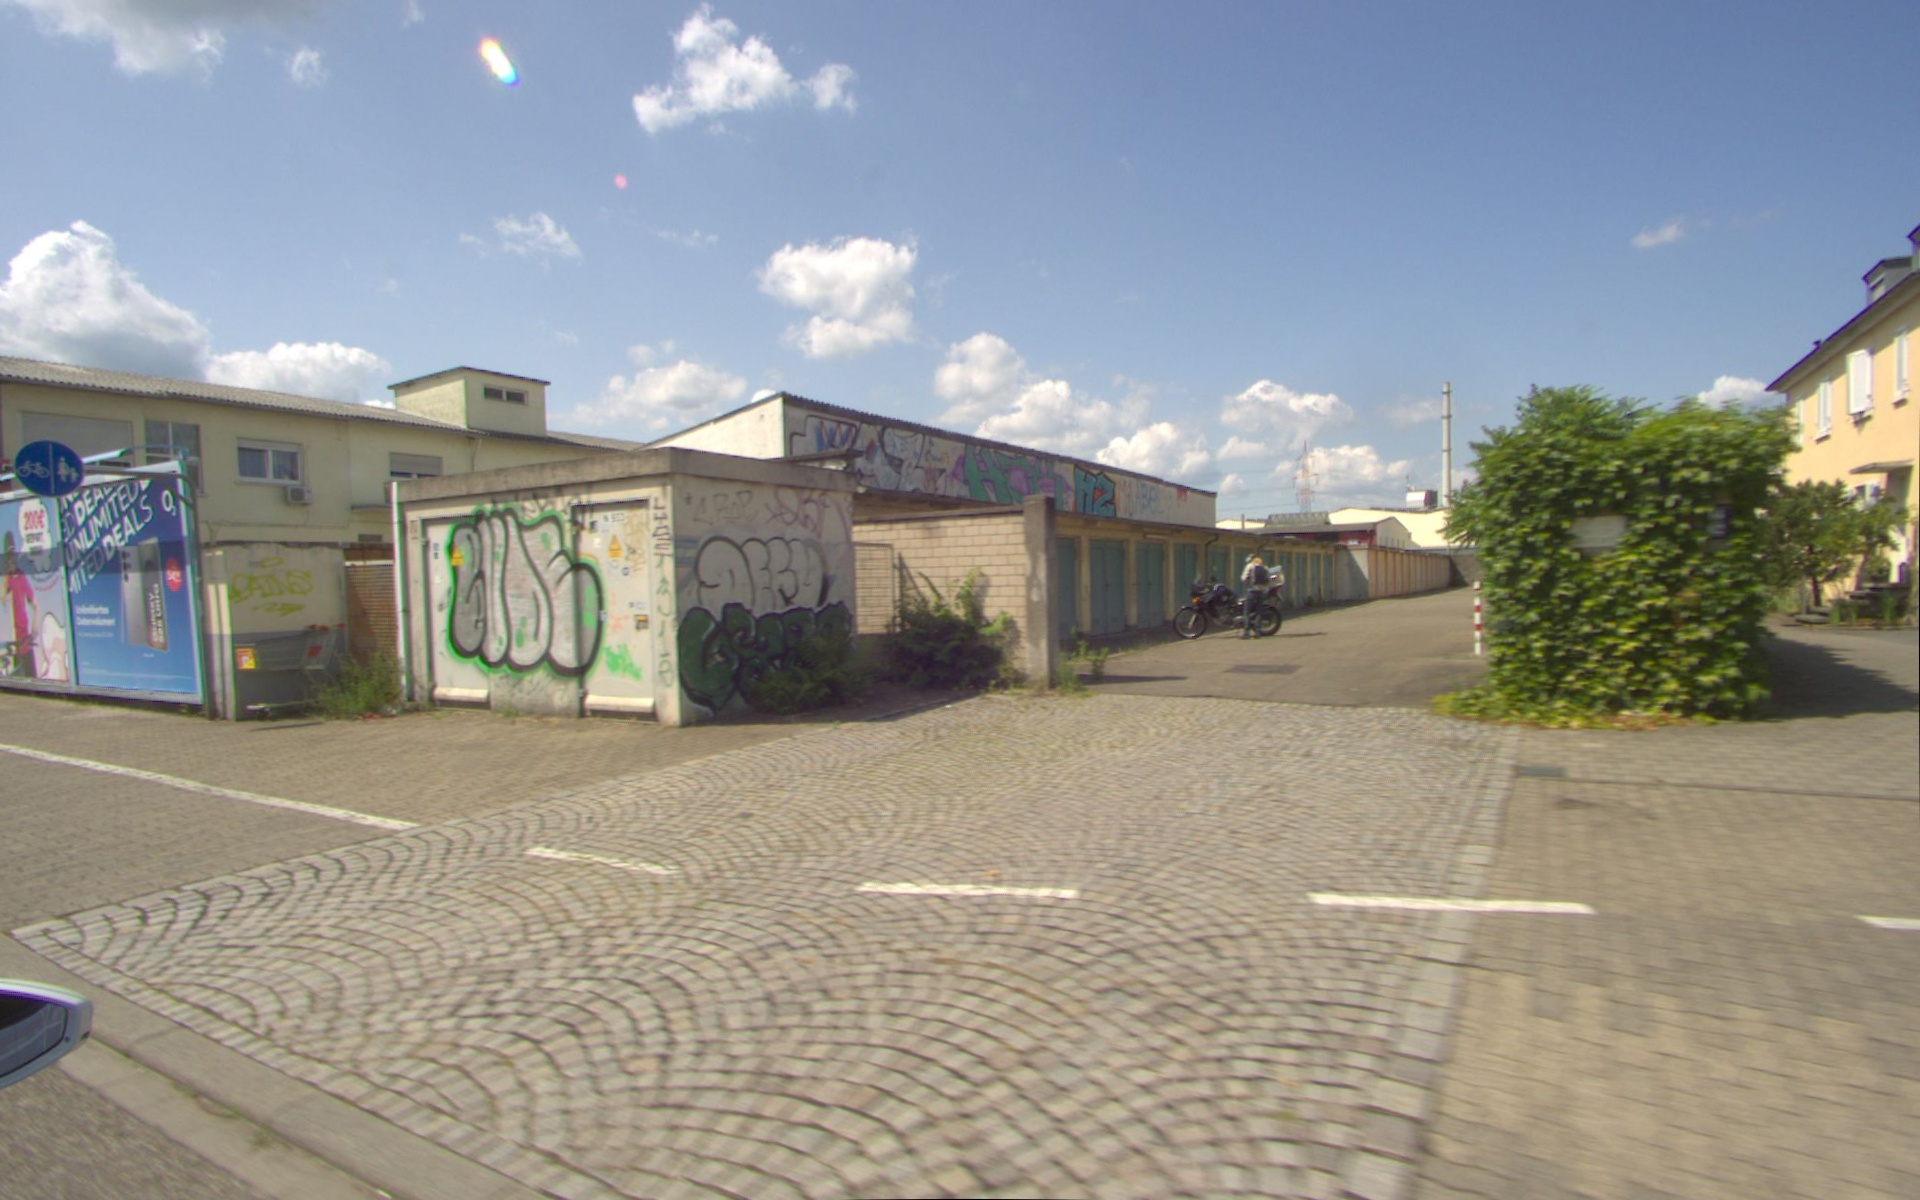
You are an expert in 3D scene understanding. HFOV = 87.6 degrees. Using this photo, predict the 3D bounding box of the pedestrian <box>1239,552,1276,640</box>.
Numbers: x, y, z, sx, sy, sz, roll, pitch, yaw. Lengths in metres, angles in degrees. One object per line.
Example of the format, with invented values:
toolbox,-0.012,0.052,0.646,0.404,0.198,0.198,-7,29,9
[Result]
pedestrian,5.656,-0.072,19.022,0.588,1.625,0.487,-1,0,25

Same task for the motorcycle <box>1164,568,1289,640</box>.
motorcycle,5.262,0.081,19.802,2.309,1.345,0.625,-1,2,24
